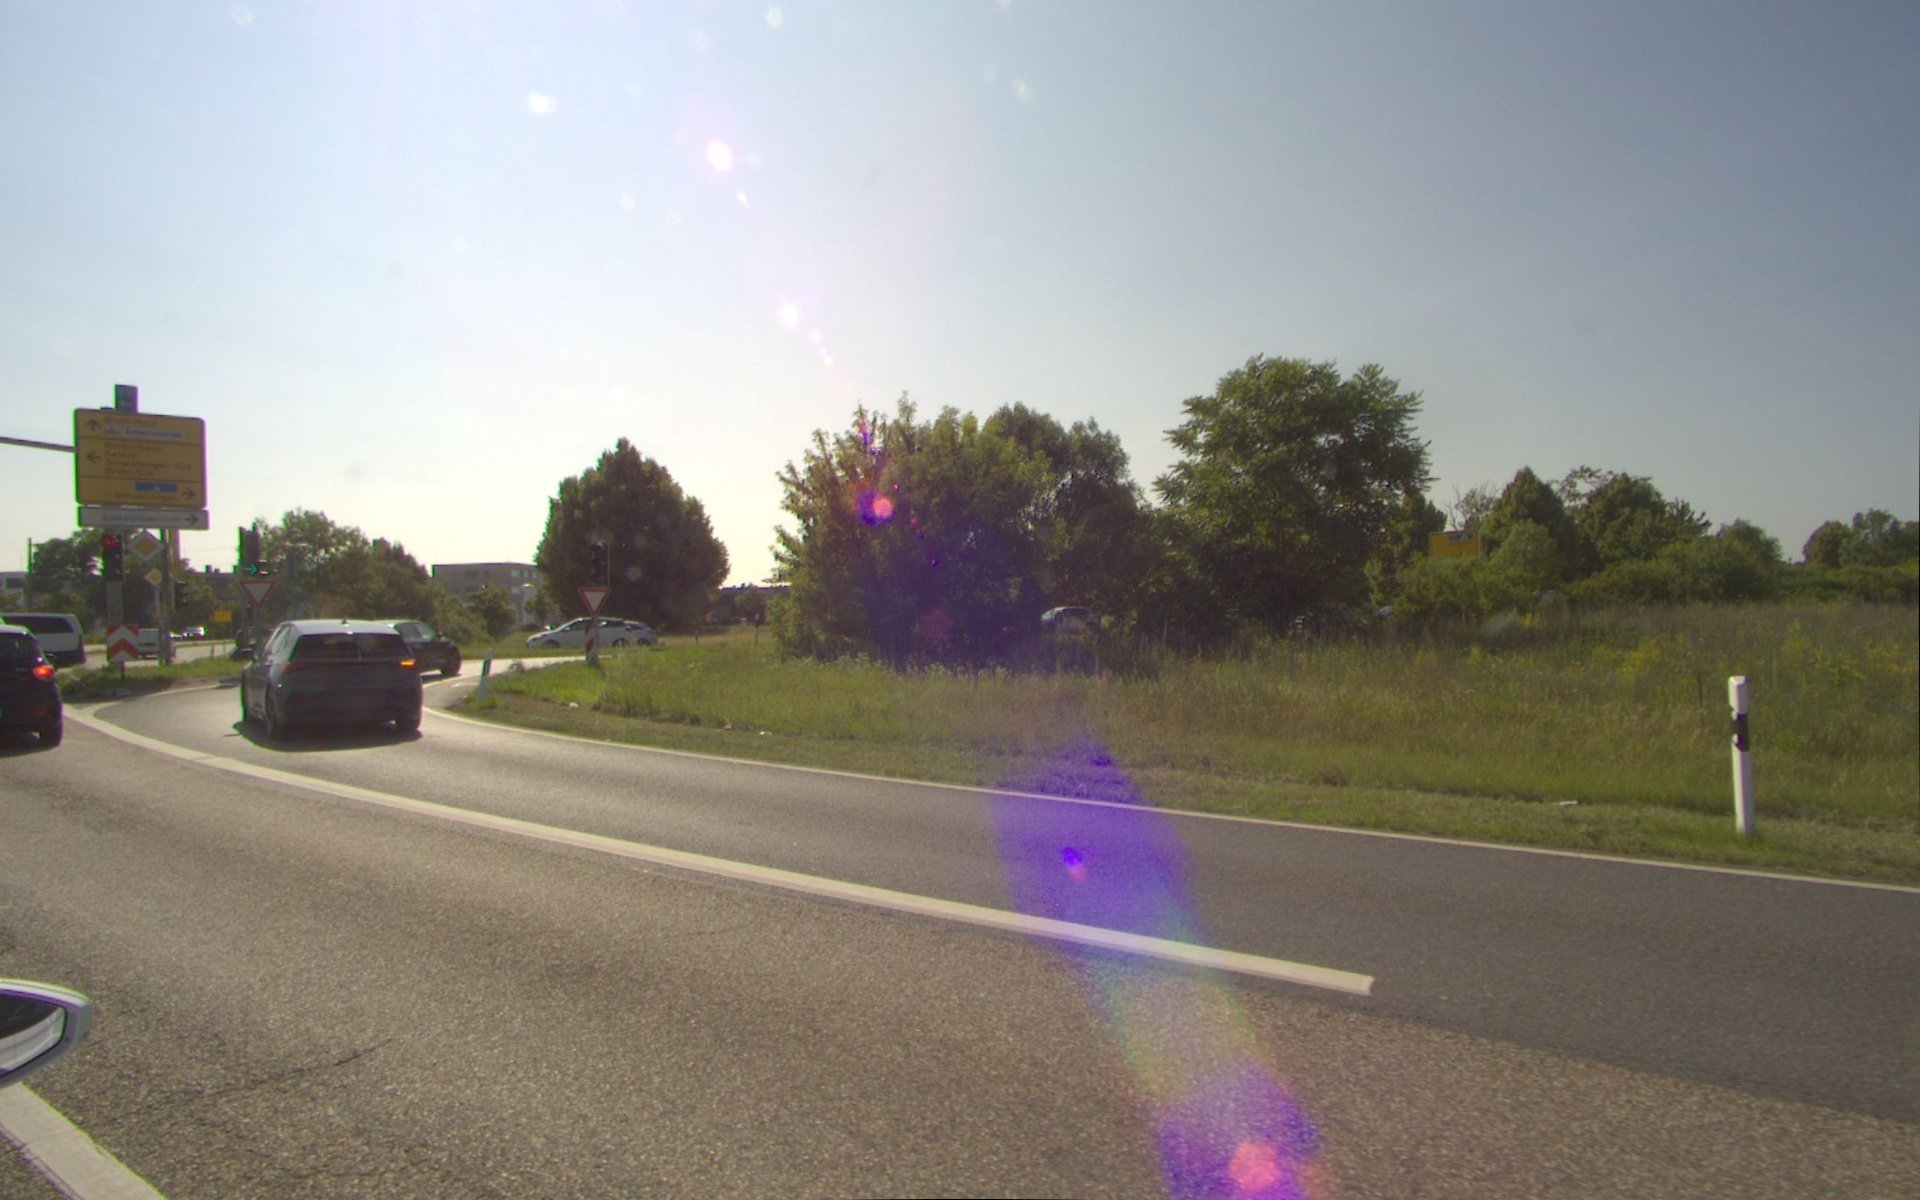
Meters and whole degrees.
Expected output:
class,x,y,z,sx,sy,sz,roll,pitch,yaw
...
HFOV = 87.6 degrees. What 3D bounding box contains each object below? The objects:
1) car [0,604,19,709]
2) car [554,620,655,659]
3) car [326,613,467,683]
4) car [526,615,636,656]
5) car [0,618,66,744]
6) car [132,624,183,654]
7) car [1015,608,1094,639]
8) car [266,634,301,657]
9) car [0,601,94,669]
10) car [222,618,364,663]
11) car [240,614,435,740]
class,x,y,z,sx,sy,sz,roll,pitch,yaw
car,-17.296,0.937,17.027,3.708,1.698,1.624,-1,-2,42
car,-15.155,1.636,42.739,3.823,1.539,1.799,0,0,-29
car,-12.812,1.041,23.044,1.616,1.404,3.996,0,0,-11
car,-14.723,1.352,38.893,3.851,1.484,1.717,0,-1,-26
car,-12.529,0.959,12.578,3.258,1.467,1.625,-1,-2,42
car,-51.746,2.518,64.650,1.695,1.842,3.764,1,-2,-26
car,5.043,1.227,53.359,3.821,1.539,1.800,-1,0,-27
car,-52.267,3.523,77.436,1.855,1.694,3.753,1,-2,-29
car,-28.825,1.012,29.299,1.972,1.943,4.922,0,-1,33
car,-24.858,1.475,37.510,4.272,1.539,1.799,0,0,-29
car,-9.108,0.987,14.503,1.760,1.537,4.062,1,-1,-41
